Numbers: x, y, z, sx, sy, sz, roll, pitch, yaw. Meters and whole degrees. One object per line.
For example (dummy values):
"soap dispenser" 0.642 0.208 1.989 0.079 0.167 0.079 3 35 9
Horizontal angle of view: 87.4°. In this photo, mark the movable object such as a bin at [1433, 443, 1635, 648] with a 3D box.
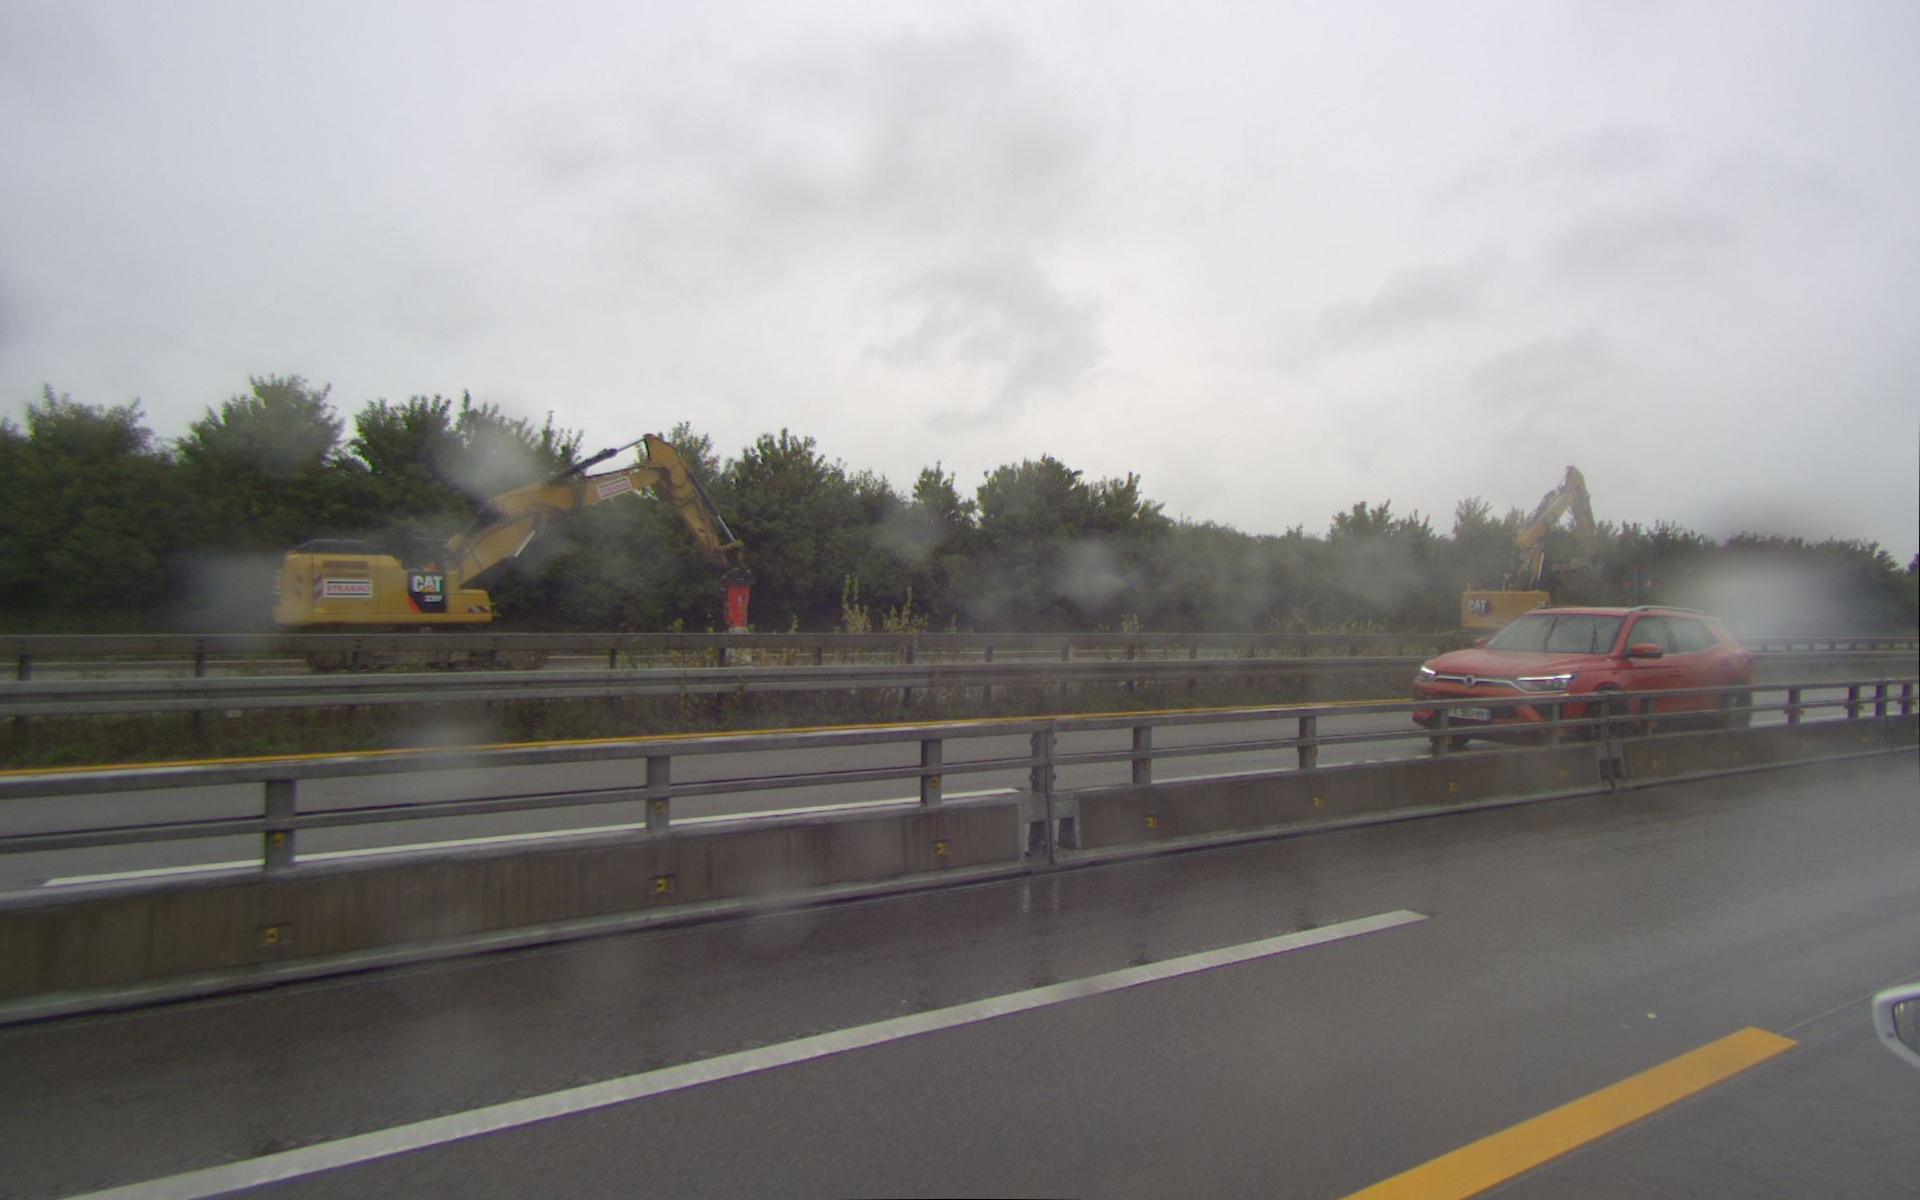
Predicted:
"movable object such as a bin" 25.193 -2.149 44.052 8.202 8.252 3.583 2 1 -27

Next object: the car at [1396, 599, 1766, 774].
"car" 7.035 0.865 11.297 4.135 1.614 1.793 2 0 -30

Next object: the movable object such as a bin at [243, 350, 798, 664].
"movable object such as a bin" -9.765 -1.670 23.615 10.906 5.994 4.154 2 1 -28
